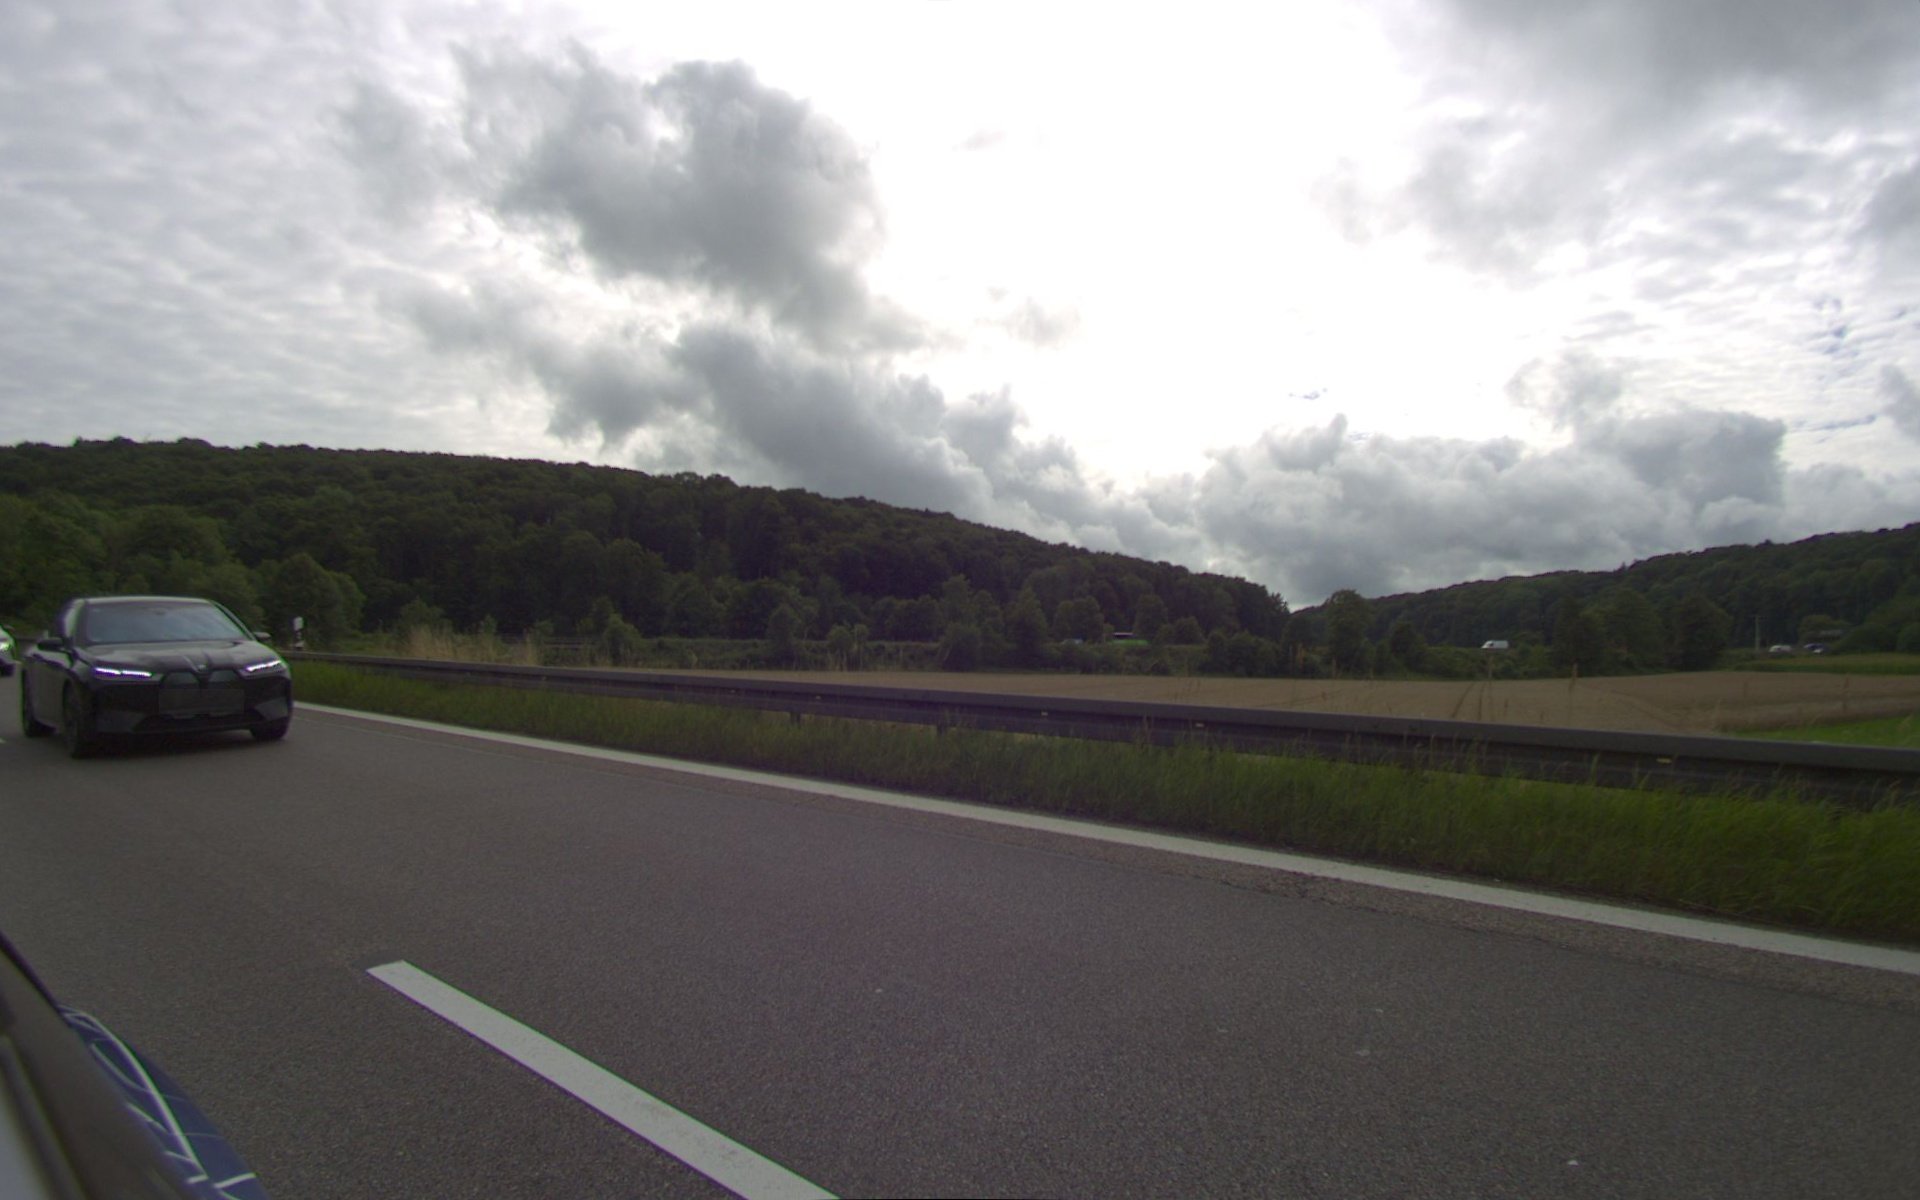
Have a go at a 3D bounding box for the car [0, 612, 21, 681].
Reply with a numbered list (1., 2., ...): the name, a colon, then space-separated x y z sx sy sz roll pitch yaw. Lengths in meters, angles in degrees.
1. car: -25.346 1.162 25.390 4.409 1.678 1.974 -1 -2 39

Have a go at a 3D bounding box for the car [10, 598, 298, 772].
1. car: -9.657 0.843 12.000 4.413 1.678 1.972 -1 -1 42
